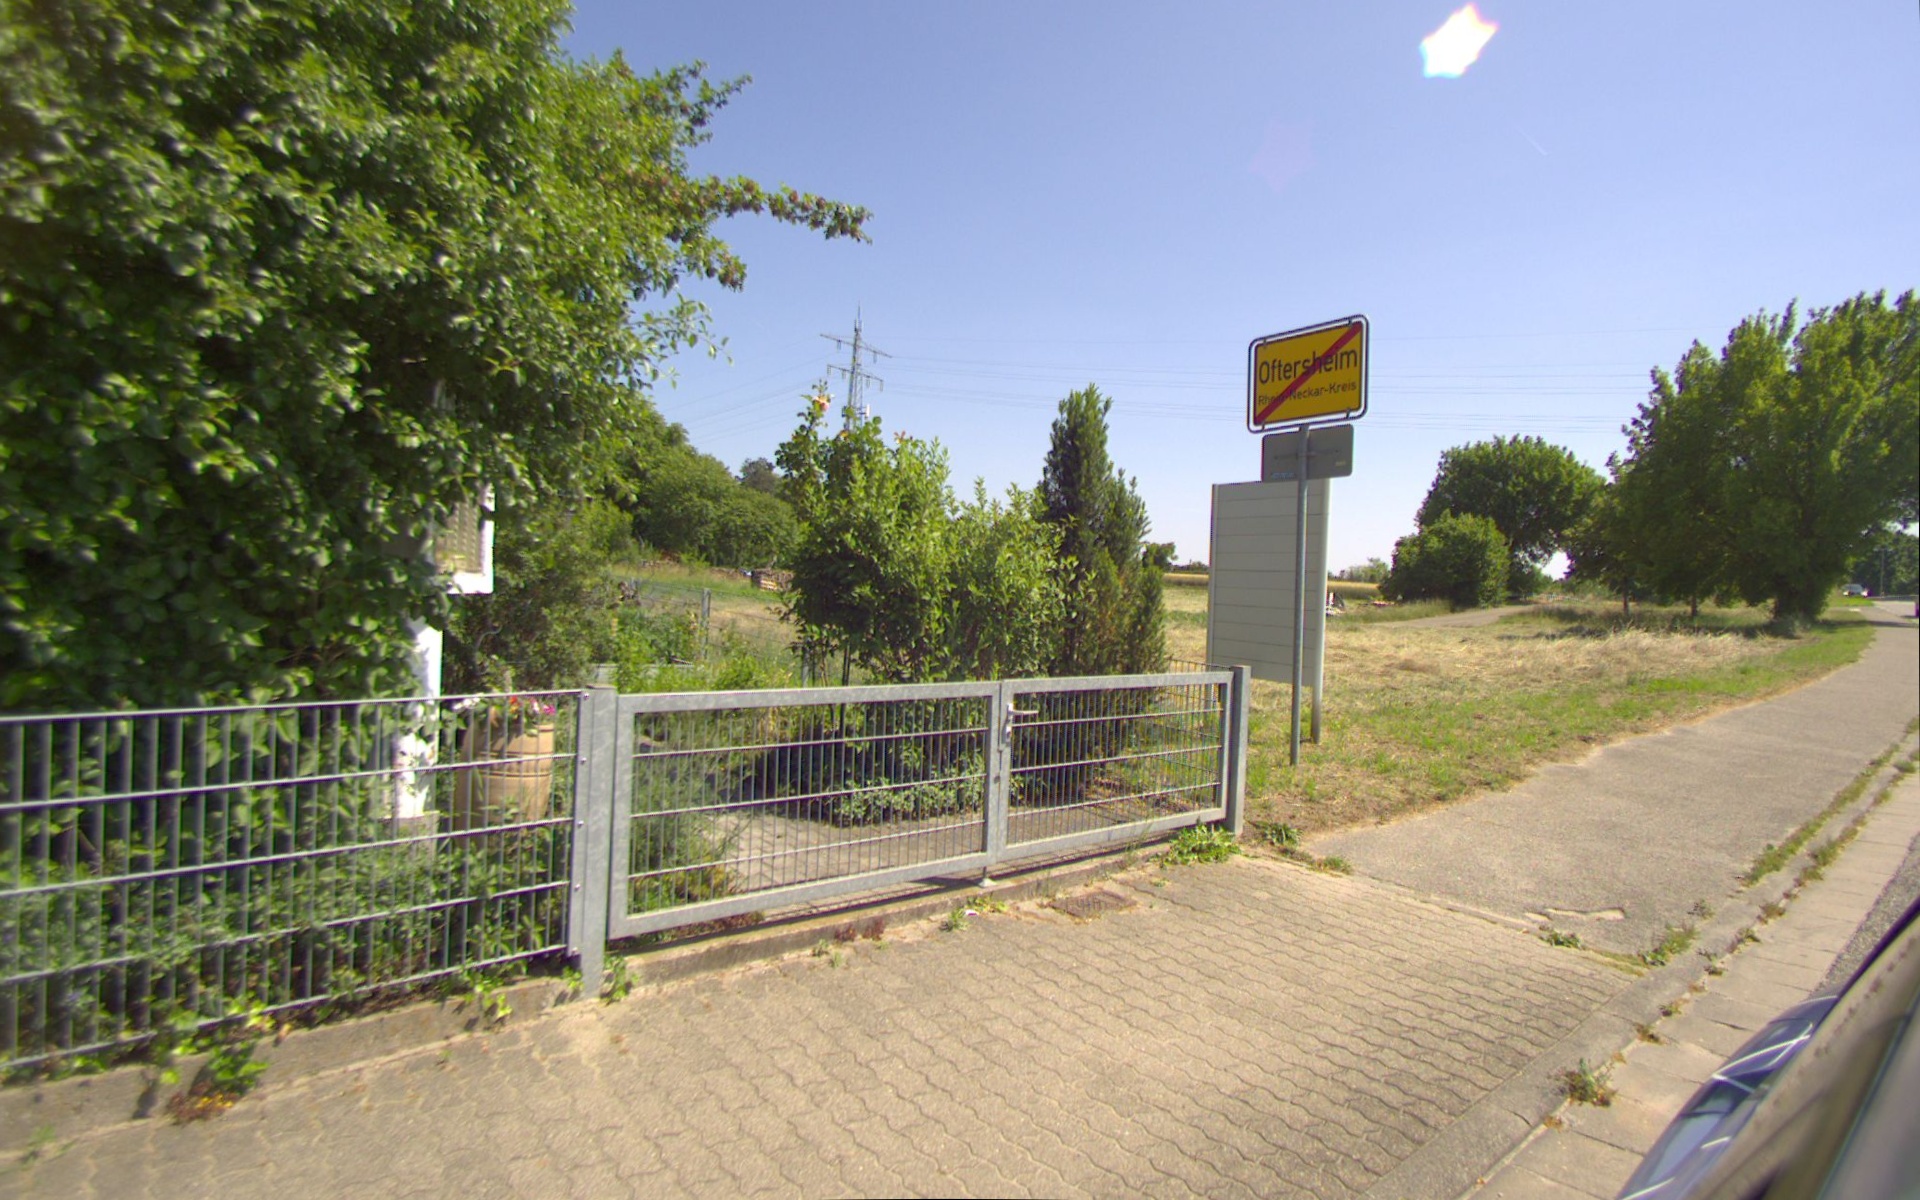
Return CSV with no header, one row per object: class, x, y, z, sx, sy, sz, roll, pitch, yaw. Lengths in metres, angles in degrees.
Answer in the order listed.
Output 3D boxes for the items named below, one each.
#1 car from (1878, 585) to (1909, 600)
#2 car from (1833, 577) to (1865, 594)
car,109.084,-0.898,118.325,1.869,1.592,4.417,2,0,33
car,86.527,-1.418,98.514,1.989,1.551,3.946,1,0,37
